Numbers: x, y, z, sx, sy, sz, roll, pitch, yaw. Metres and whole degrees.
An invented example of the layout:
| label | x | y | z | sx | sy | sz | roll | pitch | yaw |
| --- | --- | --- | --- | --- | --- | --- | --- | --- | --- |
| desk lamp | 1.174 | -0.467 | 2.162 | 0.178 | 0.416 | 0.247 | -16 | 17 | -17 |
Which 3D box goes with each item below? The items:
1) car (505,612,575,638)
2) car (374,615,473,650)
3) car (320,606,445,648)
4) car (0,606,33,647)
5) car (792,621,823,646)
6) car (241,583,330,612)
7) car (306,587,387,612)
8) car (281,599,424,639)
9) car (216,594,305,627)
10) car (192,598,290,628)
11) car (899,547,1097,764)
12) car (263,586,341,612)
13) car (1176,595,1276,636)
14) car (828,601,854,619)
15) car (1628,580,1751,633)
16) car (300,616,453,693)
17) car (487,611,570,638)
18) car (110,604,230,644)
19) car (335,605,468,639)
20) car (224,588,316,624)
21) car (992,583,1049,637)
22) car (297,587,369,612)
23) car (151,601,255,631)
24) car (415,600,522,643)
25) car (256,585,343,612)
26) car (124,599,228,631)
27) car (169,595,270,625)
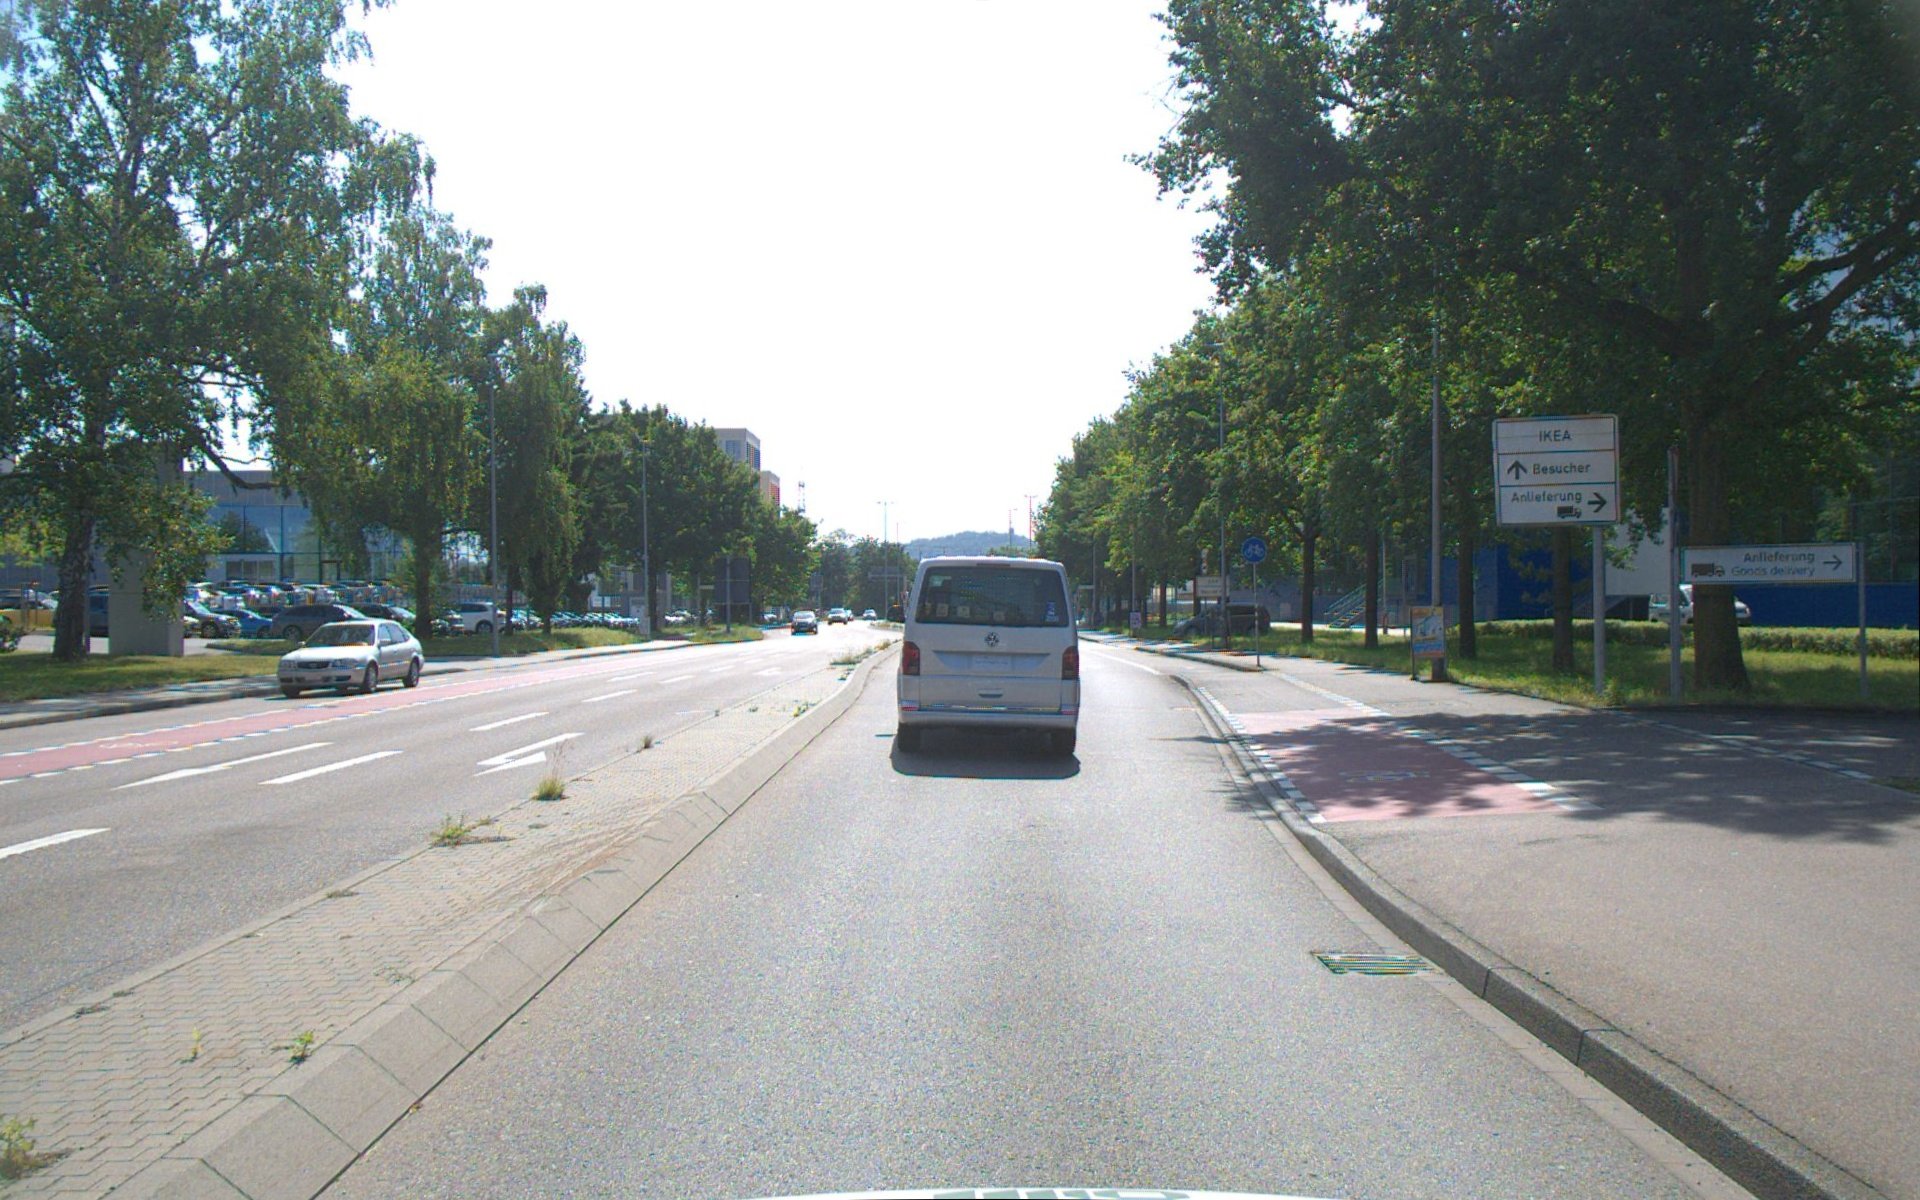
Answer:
| label | x | y | z | sx | sy | sz | roll | pitch | yaw |
| --- | --- | --- | --- | --- | --- | --- | --- | --- | --- |
| car | -23.909 | 1.432 | 94.183 | 3.522 | 1.307 | 1.864 | -2 | 0 | -3 |
| car | -22.745 | 1.382 | 70.206 | 3.605 | 1.395 | 1.816 | 1 | 0 | -1 |
| car | -22.475 | 1.040 | 64.460 | 4.128 | 1.573 | 2.000 | 1 | 0 | -1 |
| car | -39.027 | 1.029 | 66.130 | 3.948 | 1.573 | 1.658 | 0 | -1 | 30 |
| car | -10.089 | 2.188 | 109.681 | 1.663 | 1.545 | 4.026 | -2 | 0 | -1 |
| car | -39.636 | -0.136 | 97.255 | 4.409 | 1.578 | 1.979 | -1 | -1 | -3 |
| car | -39.650 | -0.035 | 106.960 | 4.427 | 1.522 | 1.986 | 1 | 0 | -1 |
| car | -22.774 | 0.719 | 62.156 | 4.591 | 1.414 | 2.000 | 1 | 0 | -1 |
| car | -38.936 | 0.571 | 92.100 | 4.183 | 1.735 | 1.664 | -1 | -1 | -3 |
| car | -38.796 | 0.694 | 89.269 | 4.409 | 1.511 | 1.979 | -1 | -1 | -3 |
| car | 0.348 | 0.532 | 17.602 | 1.846 | 2.025 | 3.999 | 1 | 0 | 0 |
| car | -39.982 | -0.067 | 100.550 | 3.906 | 1.522 | 2.051 | 1 | 0 | -1 |
| car | 12.080 | 0.705 | 75.269 | 4.350 | 1.723 | 1.845 | -2 | -1 | 6 |
| car | -11.602 | 1.004 | 161.221 | 1.952 | 1.646 | 4.106 | -2 | -1 | 3 |
| car | 24.176 | 0.205 | 54.972 | 1.815 | 1.668 | 4.297 | 1 | 0 | -7 |
| car | -11.906 | 1.079 | 34.030 | 1.602 | 1.412 | 4.318 | -2 | 0 | 0 |
| car | -21.492 | 1.225 | 82.505 | 3.715 | 1.308 | 1.744 | 1 | 0 | -3 |
| car | -33.337 | 1.007 | 69.894 | 4.157 | 1.592 | 1.804 | 1 | 0 | -2 |
| car | -22.942 | 0.894 | 68.065 | 4.752 | 1.290 | 2.000 | 1 | 0 | -1 |
| car | -39.415 | 0.341 | 94.612 | 4.409 | 1.996 | 1.979 | -1 | -1 | -3 |
| car | 2.310 | 0.376 | 64.546 | 1.928 | 2.002 | 5.124 | 1 | 0 | -1 |
| car | -39.634 | -0.050 | 104.600 | 3.906 | 1.522 | 1.668 | 1 | 0 | -1 |
| car | -38.655 | 0.818 | 84.563 | 4.409 | 1.443 | 1.890 | 1 | 0 | -3 |
| car | -23.137 | 1.010 | 77.979 | 4.371 | 1.908 | 2.000 | 1 | 0 | 0 |
| car | -39.686 | -0.080 | 99.403 | 4.409 | 1.511 | 1.979 | -1 | -1 | -3 |
| car | -38.601 | 0.717 | 81.509 | 4.119 | 1.502 | 1.998 | 1 | 0 | -4 |
| car | -38.819 | 0.535 | 86.791 | 4.409 | 1.511 | 1.979 | -1 | -1 | -3 |
